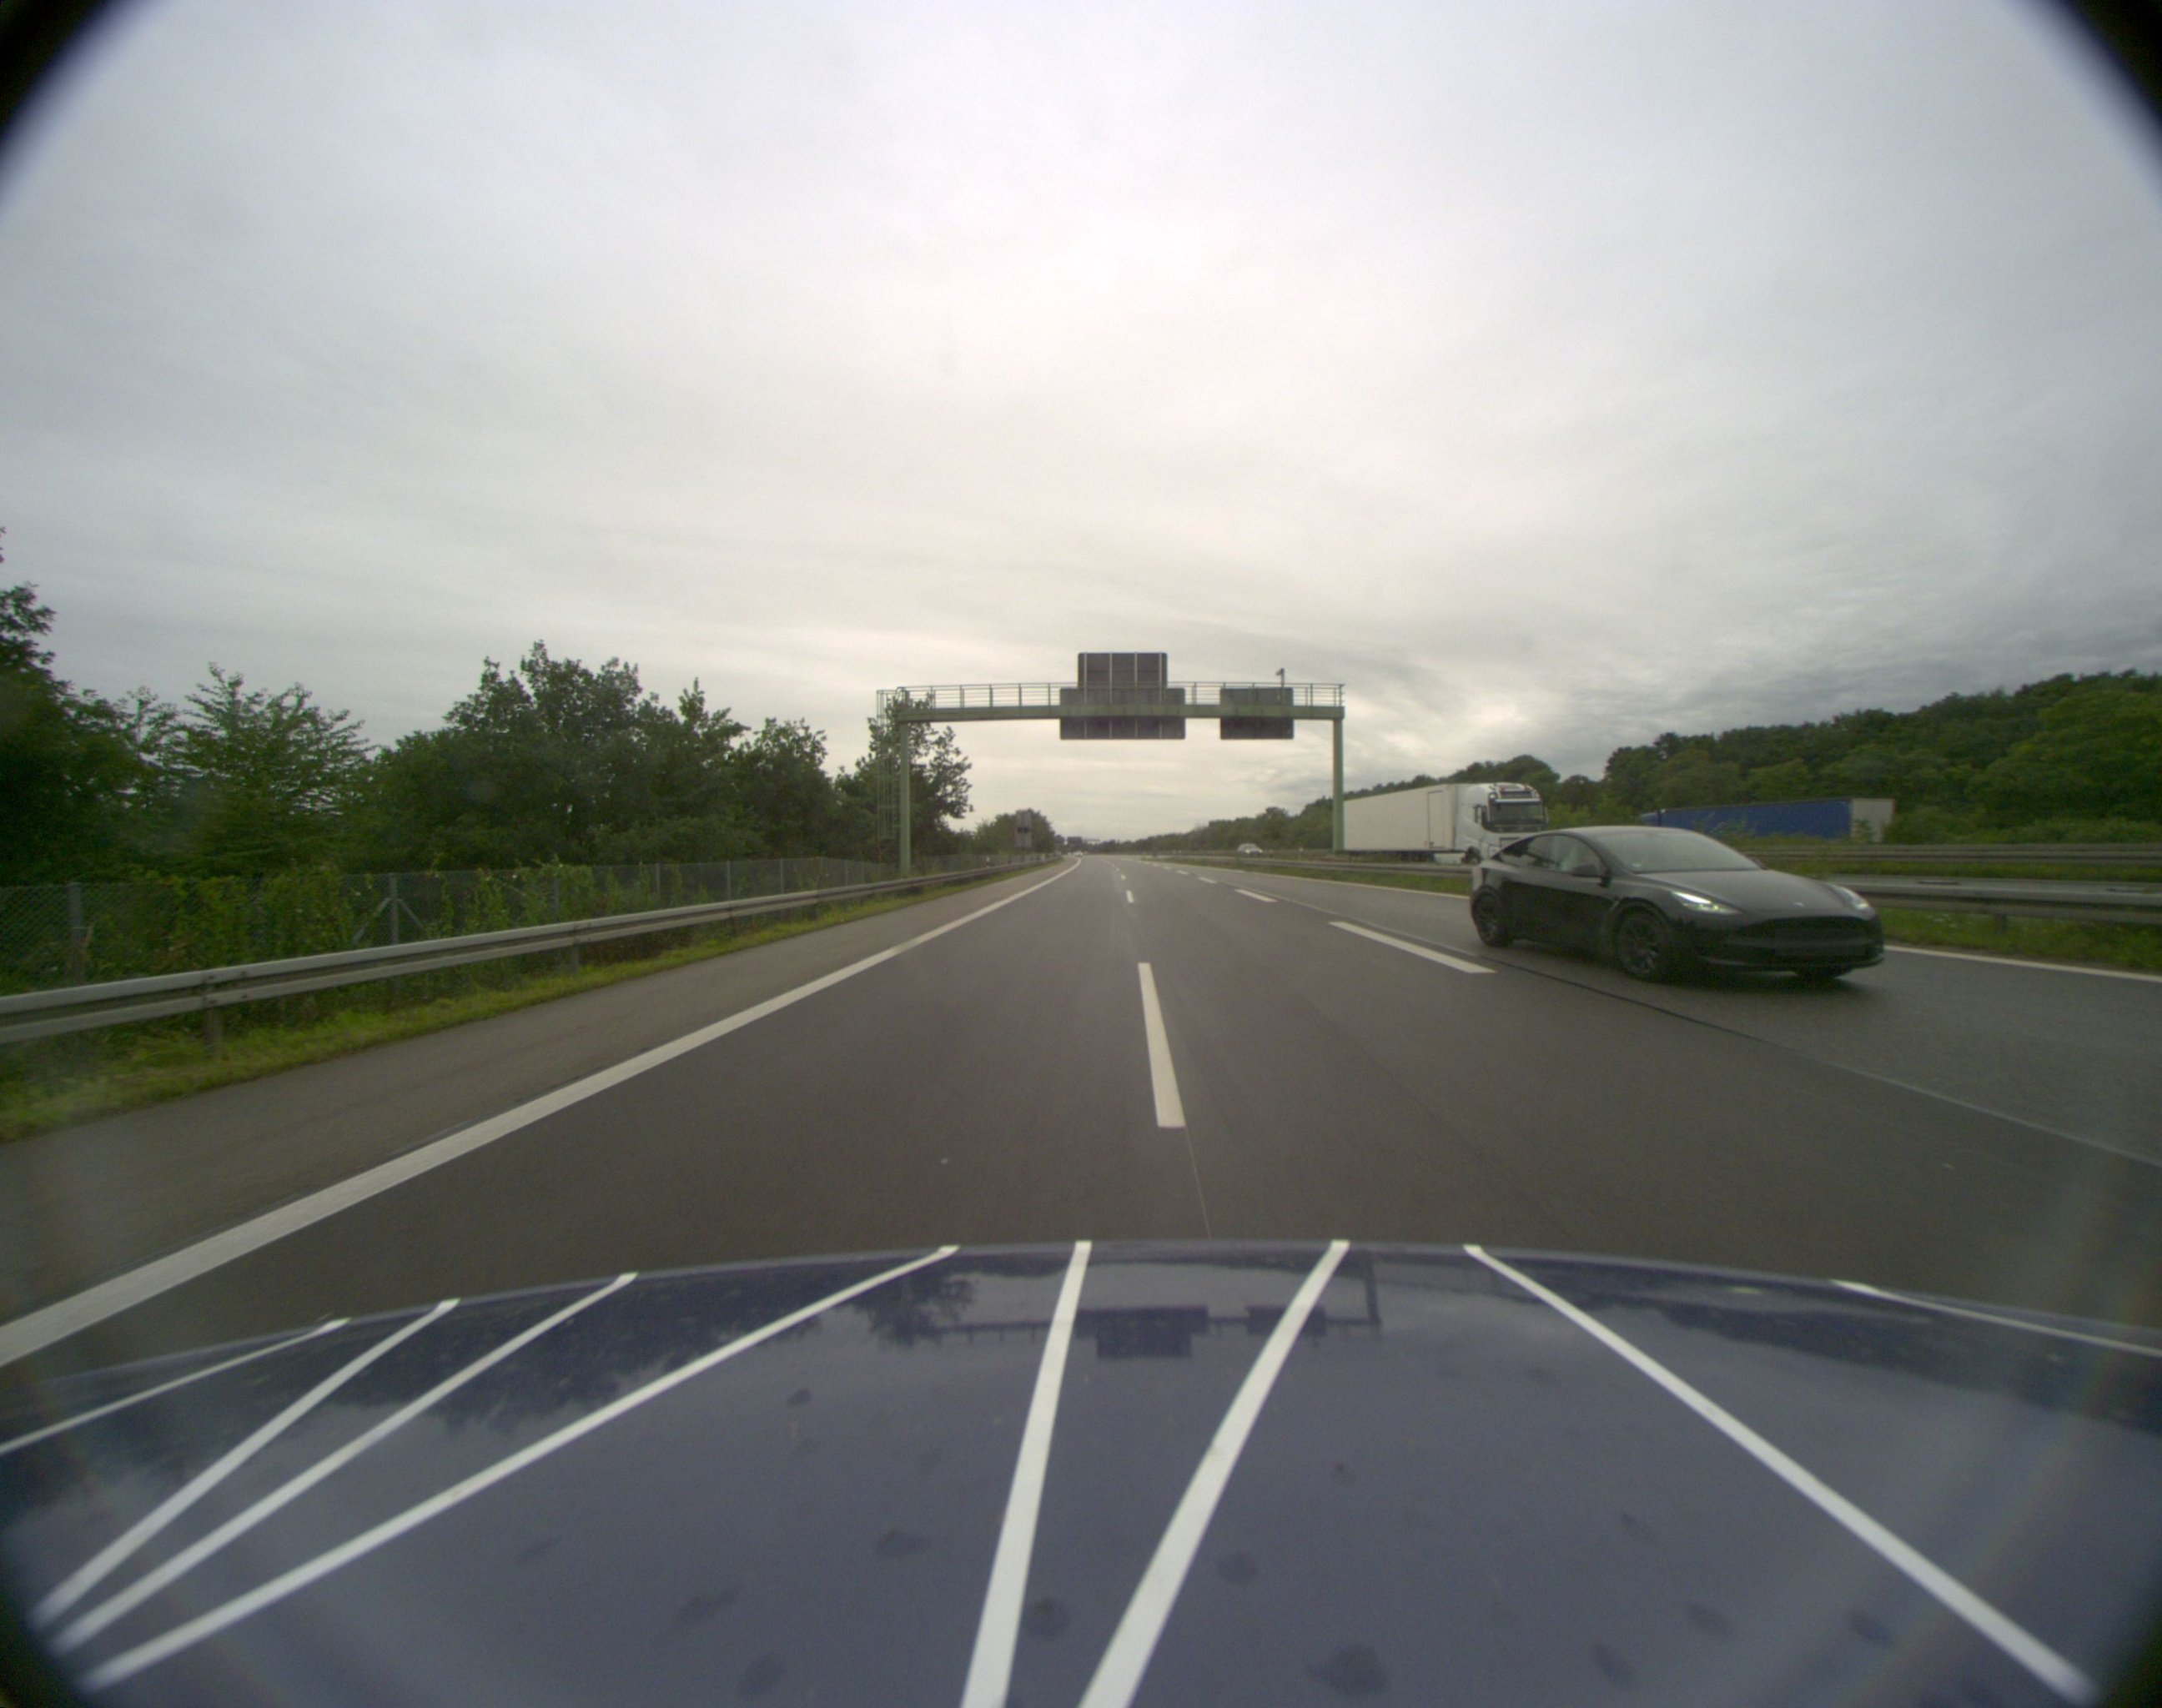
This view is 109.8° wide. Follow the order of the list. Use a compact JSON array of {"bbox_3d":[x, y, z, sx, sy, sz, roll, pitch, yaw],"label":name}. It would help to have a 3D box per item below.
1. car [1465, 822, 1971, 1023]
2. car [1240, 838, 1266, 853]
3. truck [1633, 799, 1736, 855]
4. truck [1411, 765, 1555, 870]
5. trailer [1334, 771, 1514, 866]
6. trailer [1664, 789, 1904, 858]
[{"bbox_3d":[6.531,0.534,8.686,1.966,1.628,4.553,-2,1,0],"label":"car"},{"bbox_3d":[20.275,-0.985,89.849,1.903,1.641,4.484,-2,1,-1],"label":"car"},{"bbox_3d":[45.493,-1.977,57.505,2.967,3.903,5.896,-2,1,-2],"label":"truck"},{"bbox_3d":[17.648,-1.512,33.915,2.773,4.111,6.443,-2,1,-2],"label":"truck"},{"bbox_3d":[17.441,-1.642,40.425,2.773,4.111,13.947,-2,1,-2],"label":"trailer"},{"bbox_3d":[45.778,-1.840,50.609,2.967,3.903,13.522,-2,1,-2],"label":"trailer"}]
